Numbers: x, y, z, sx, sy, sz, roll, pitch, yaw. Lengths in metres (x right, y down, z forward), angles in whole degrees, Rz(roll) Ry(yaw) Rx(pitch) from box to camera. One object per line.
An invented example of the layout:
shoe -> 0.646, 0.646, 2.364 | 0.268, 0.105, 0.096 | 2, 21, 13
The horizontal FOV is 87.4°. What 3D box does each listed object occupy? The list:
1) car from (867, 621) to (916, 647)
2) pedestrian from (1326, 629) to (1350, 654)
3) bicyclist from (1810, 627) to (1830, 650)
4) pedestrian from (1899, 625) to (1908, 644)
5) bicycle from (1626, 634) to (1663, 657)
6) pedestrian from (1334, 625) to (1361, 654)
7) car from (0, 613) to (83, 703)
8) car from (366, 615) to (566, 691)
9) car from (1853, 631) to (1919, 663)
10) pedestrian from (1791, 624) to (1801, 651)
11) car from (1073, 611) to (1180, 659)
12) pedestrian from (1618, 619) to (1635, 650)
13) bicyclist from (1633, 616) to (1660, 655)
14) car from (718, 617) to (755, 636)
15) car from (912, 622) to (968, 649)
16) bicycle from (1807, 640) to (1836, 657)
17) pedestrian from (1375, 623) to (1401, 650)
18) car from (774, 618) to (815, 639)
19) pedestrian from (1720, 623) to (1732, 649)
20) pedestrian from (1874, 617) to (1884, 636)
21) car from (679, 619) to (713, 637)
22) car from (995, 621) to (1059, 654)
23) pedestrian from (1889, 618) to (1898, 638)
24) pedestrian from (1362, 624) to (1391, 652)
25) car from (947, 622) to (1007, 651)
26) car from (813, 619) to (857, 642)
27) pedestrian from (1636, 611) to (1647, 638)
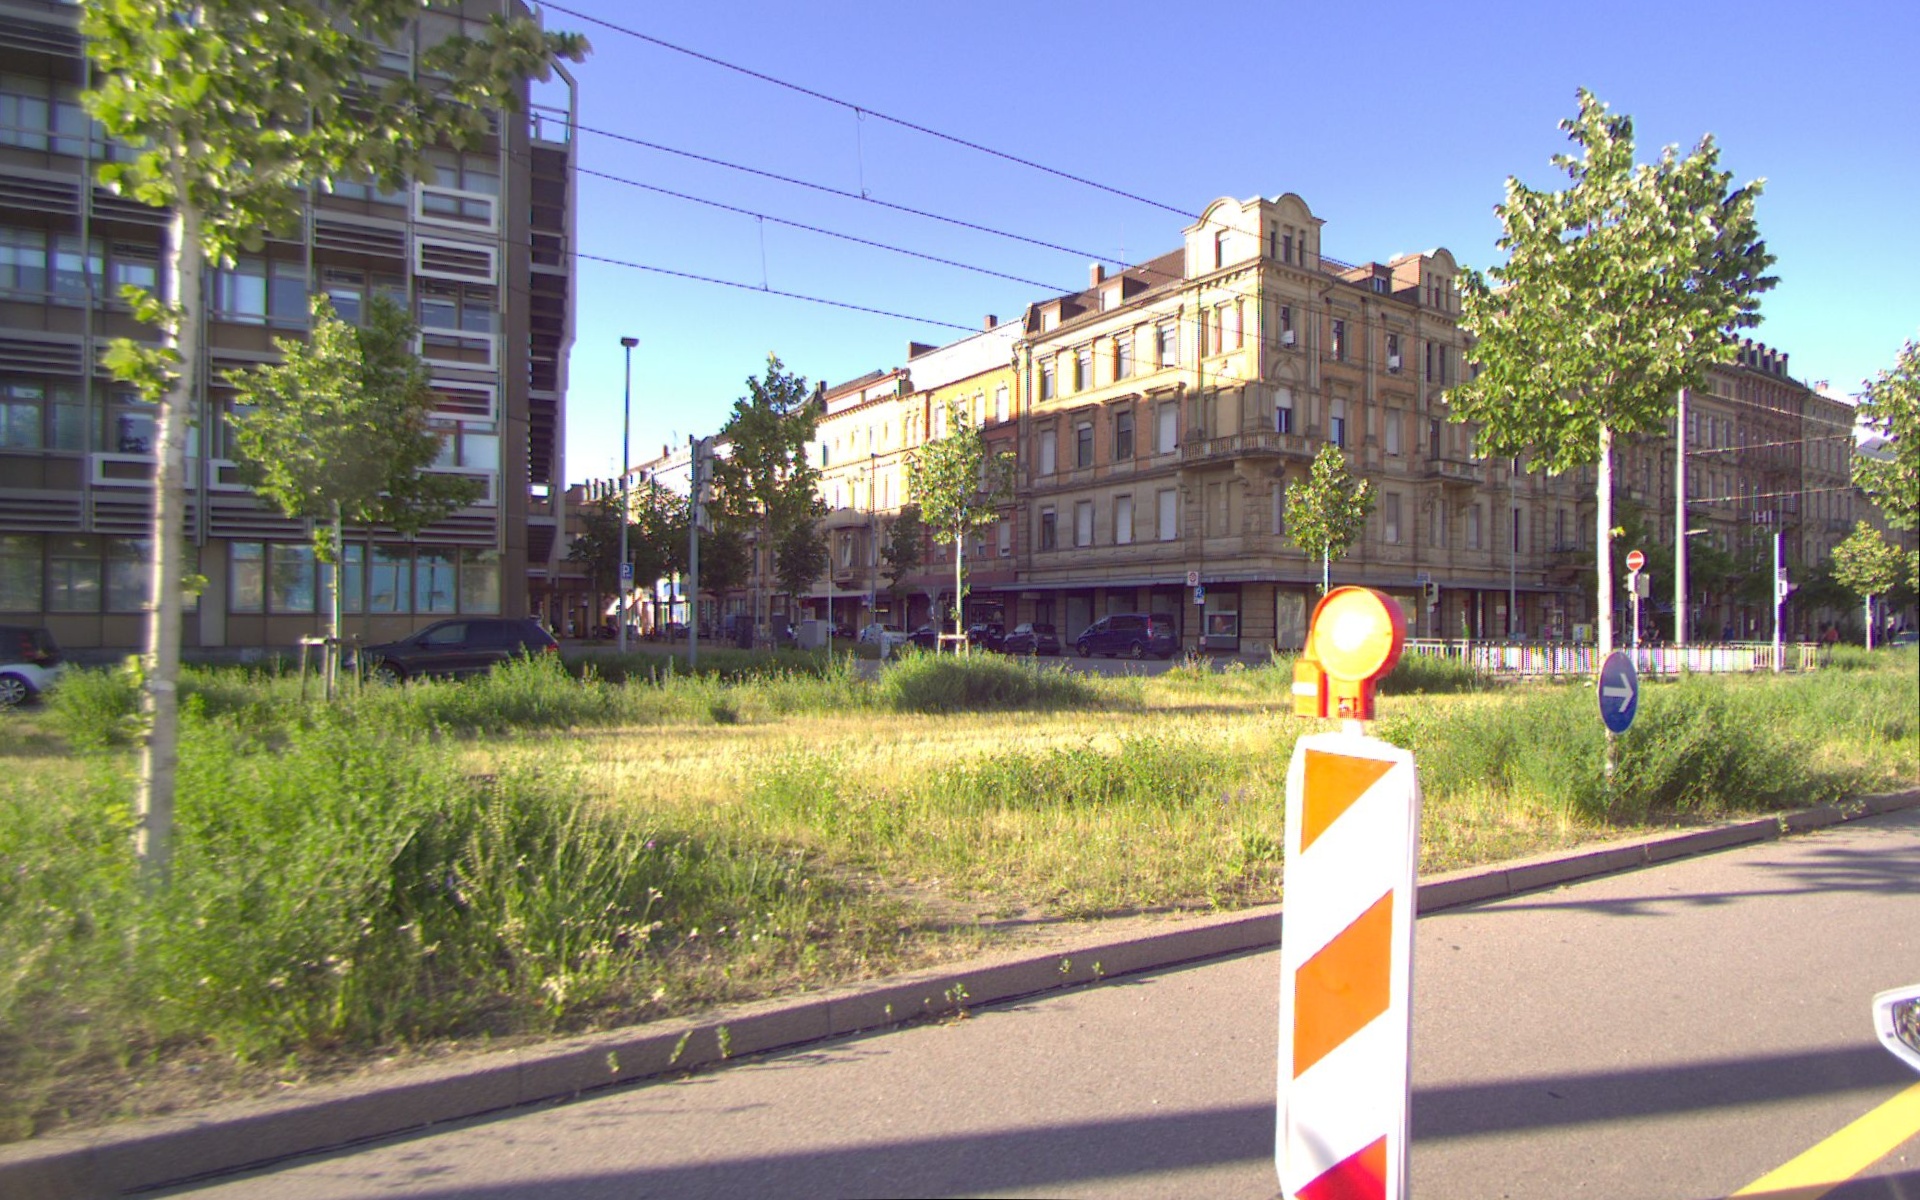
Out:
car -> -3.996, 1.958, 58.202 | 1.472, 1.427, 3.031 | 1, -1, -37
pedestrian -> 16.869, 1.842, 44.858 | 0.728, 1.073, 0.686 | 1, -1, -32
bicyclist -> 46.545, 2.074, 54.365 | 0.730, 1.256, 0.634 | 1, -1, -32
pedestrian -> 80.844, 2.918, 86.096 | 0.431, 1.606, 0.457 | 1, 1, -40
bicycle -> 29.434, 1.949, 43.190 | 1.807, 0.991, 0.691 | 1, -1, -33
pedestrian -> 16.912, 1.711, 43.831 | 0.919, 1.263, 0.686 | 1, -1, -32
car -> -18.622, 1.025, 18.097 | 3.913, 1.575, 1.644 | 1, -1, -25
car -> -10.947, 1.133, 22.378 | 3.853, 1.481, 1.722 | 1, 2, -30
car -> 48.013, 2.406, 51.829 | 4.025, 1.439, 1.842 | 1, 2, -33
pedestrian -> 56.532, 2.528, 67.934 | 0.402, 1.788, 0.364 | 1, 1, -33
car -> 7.050, 1.458, 42.965 | 1.881, 1.928, 4.477 | 1, -1, -37
pedestrian -> 34.779, 1.798, 52.419 | 0.528, 1.606, 0.484 | 1, 1, -33
bicyclist -> 29.591, 1.520, 43.296 | 0.872, 1.679, 0.691 | 1, -1, -32
car -> -17.052, 1.986, 76.608 | 1.585, 1.427, 3.327 | 1, -2, -37
car -> -1.107, 1.904, 54.181 | 1.566, 1.427, 3.031 | 1, -1, -37
bicycle -> 46.705, 2.618, 54.474 | 2.009, 0.869, 0.634 | 1, -1, -32
pedestrian -> 19.410, 1.652, 45.533 | 0.919, 1.224, 0.686 | 1, -1, -32
car -> -11.277, 1.932, 68.371 | 1.491, 1.428, 3.015 | 1, -1, -37
pedestrian -> 47.408, 2.247, 62.173 | 0.421, 1.606, 0.401 | 1, 1, -33
pedestrian -> 73.518, 2.119, 80.356 | 0.430, 1.555, 0.403 | 1, 1, -33
car -> -22.058, 2.330, 83.873 | 1.557, 1.397, 3.659 | 0, 0, -36
car -> 3.201, 1.784, 48.315 | 1.371, 1.488, 3.121 | 1, -1, -37
pedestrian -> 74.025, 2.191, 79.639 | 0.430, 1.553, 0.403 | 1, 1, -33
pedestrian -> 18.518, 1.677, 44.686 | 0.919, 1.224, 0.787 | 1, -1, -32
car -> 0.845, 1.875, 51.608 | 1.566, 1.427, 3.031 | 1, -1, -37
car -> -7.960, 1.945, 63.958 | 1.472, 1.427, 3.031 | 1, -1, -37
pedestrian -> 41.969, 1.507, 61.873 | 0.383, 1.606, 0.385 | 2, 1, -2
